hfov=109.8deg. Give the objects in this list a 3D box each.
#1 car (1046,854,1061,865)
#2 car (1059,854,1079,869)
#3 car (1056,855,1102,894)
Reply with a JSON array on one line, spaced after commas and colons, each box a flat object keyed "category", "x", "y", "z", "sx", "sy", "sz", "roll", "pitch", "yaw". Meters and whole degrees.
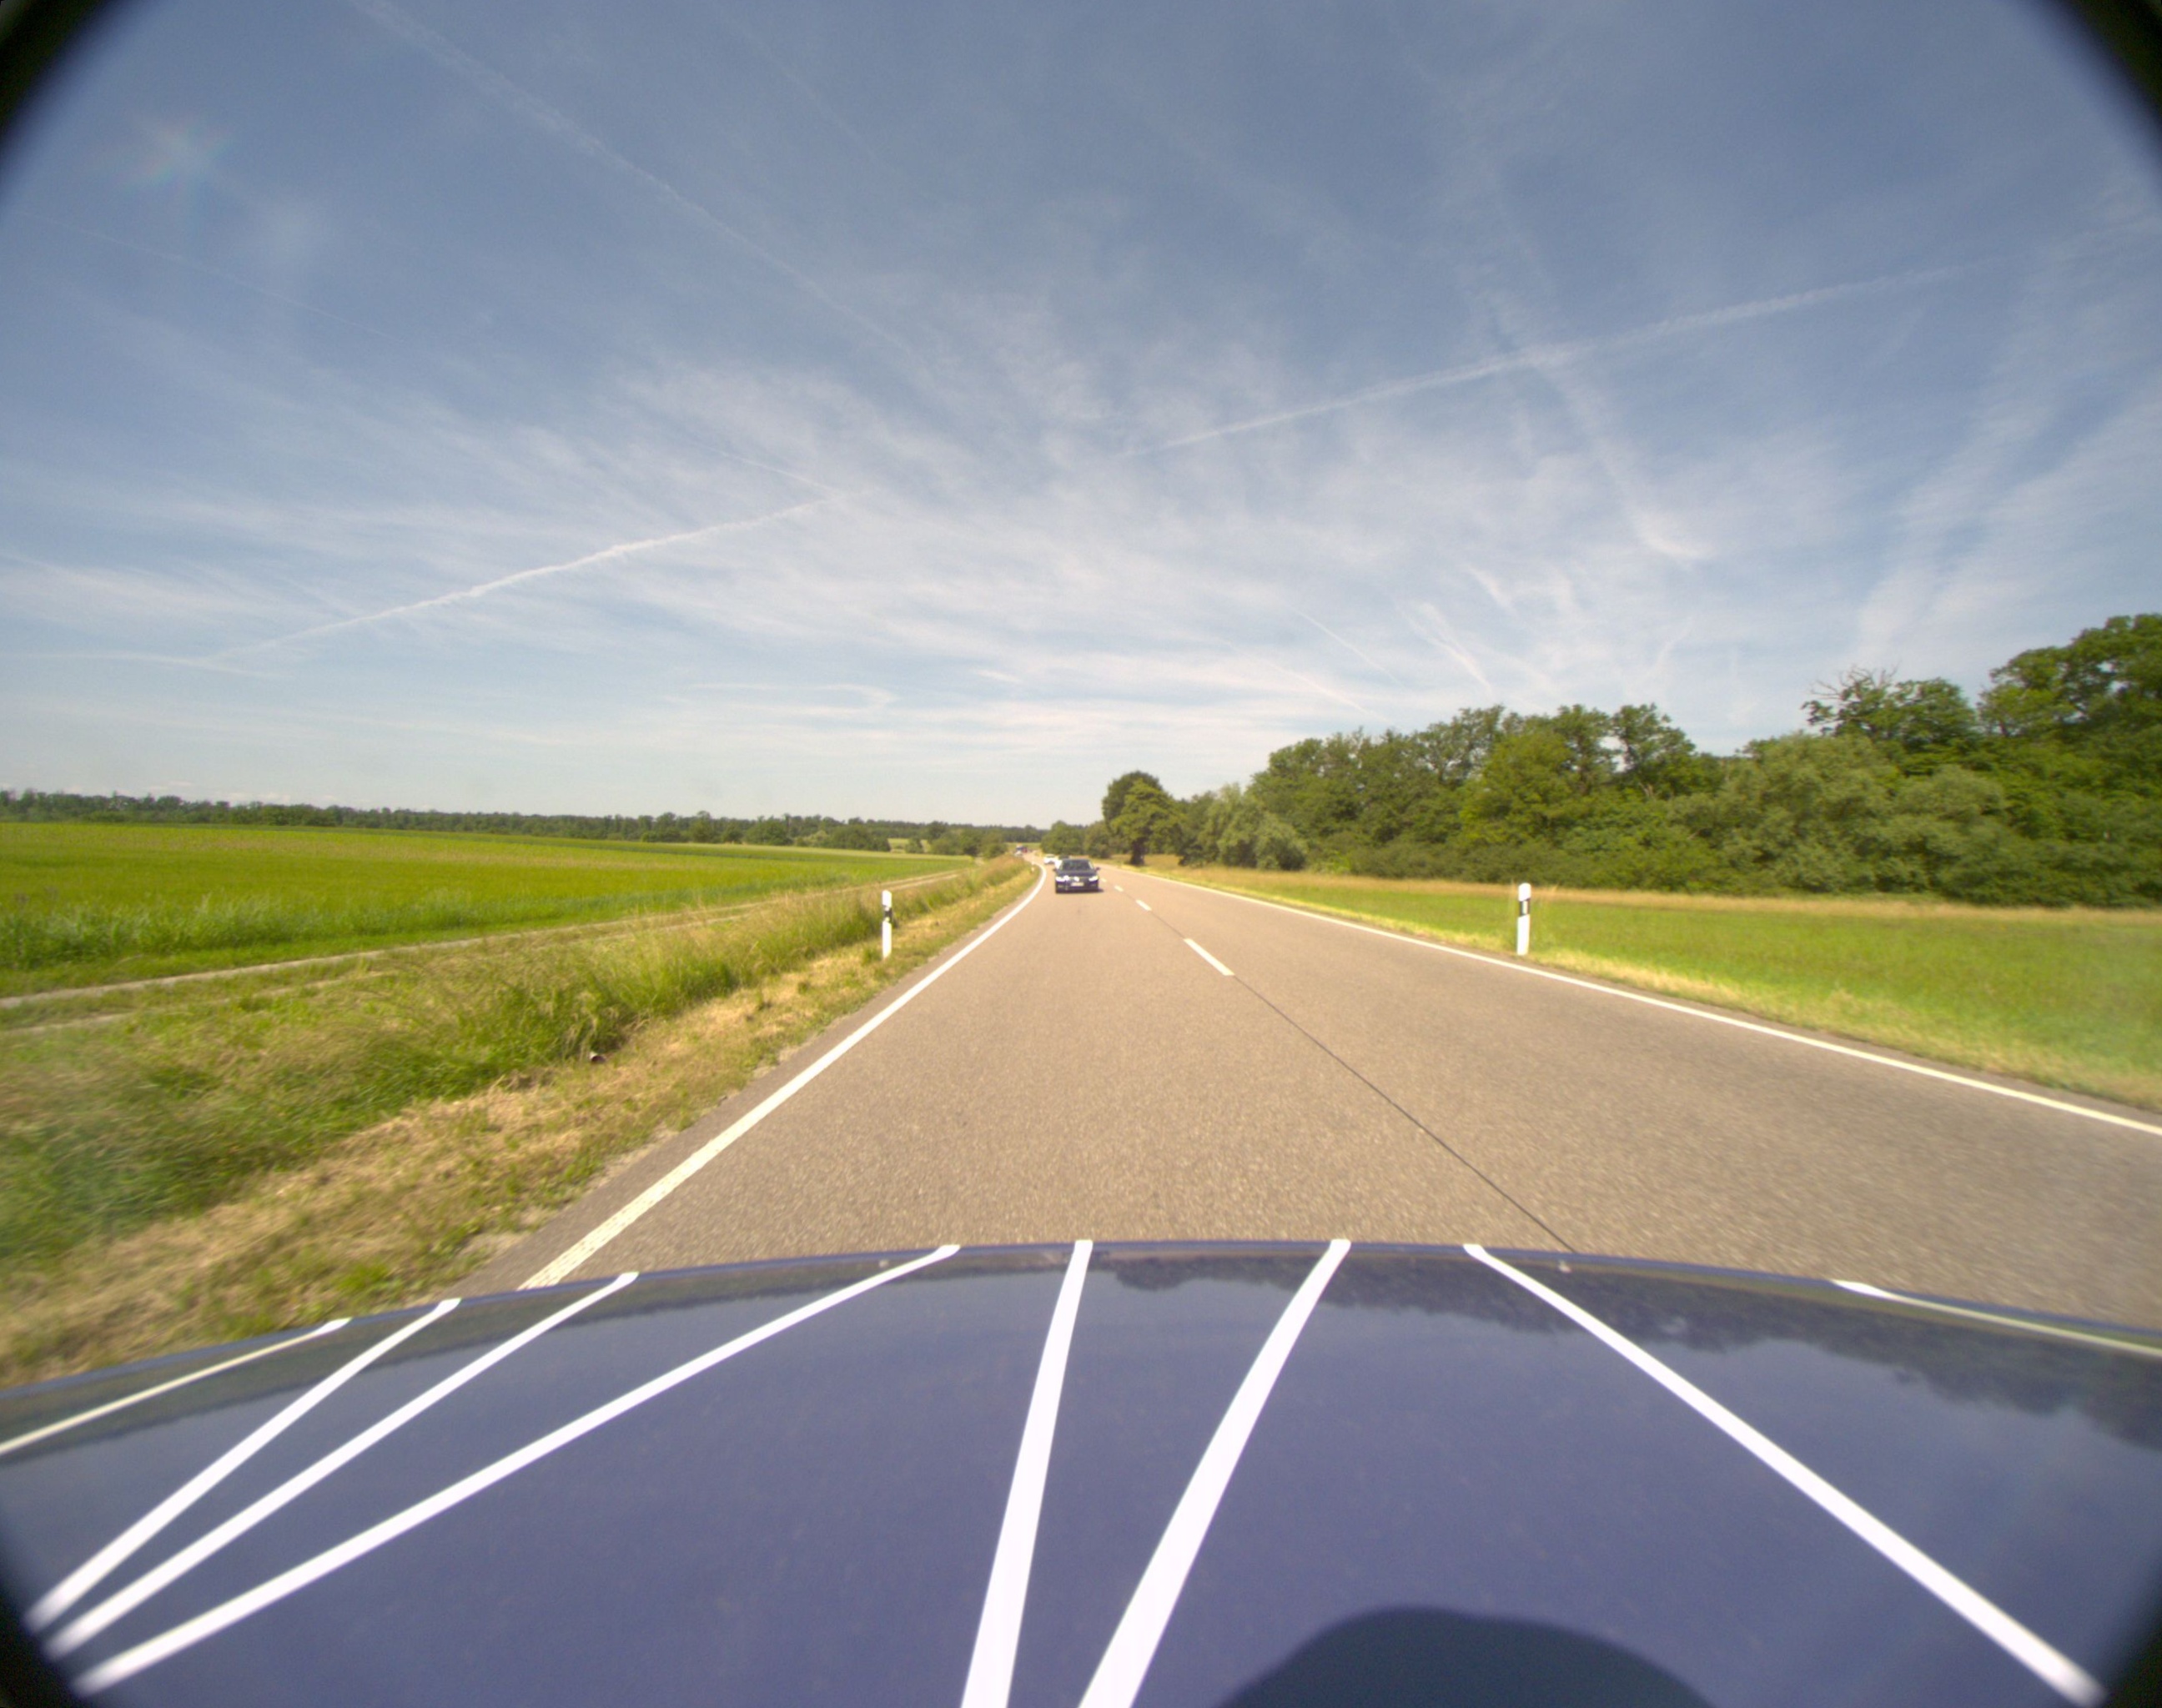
[{"category": "car", "x": -4.139, "y": 0.841, "z": 112.902, "sx": 1.929, "sy": 1.501, "sz": 4.289, "roll": -1, "pitch": 0, "yaw": -5}, {"category": "car", "x": -1.299, "y": 0.797, "z": 80.243, "sx": 1.929, "sy": 1.501, "sz": 4.290, "roll": 0, "pitch": 0, "yaw": -4}, {"category": "car", "x": -0.143, "y": 0.853, "z": 33.297, "sx": 1.822, "sy": 1.501, "sz": 4.499, "roll": -2, "pitch": 0, "yaw": -1}]
